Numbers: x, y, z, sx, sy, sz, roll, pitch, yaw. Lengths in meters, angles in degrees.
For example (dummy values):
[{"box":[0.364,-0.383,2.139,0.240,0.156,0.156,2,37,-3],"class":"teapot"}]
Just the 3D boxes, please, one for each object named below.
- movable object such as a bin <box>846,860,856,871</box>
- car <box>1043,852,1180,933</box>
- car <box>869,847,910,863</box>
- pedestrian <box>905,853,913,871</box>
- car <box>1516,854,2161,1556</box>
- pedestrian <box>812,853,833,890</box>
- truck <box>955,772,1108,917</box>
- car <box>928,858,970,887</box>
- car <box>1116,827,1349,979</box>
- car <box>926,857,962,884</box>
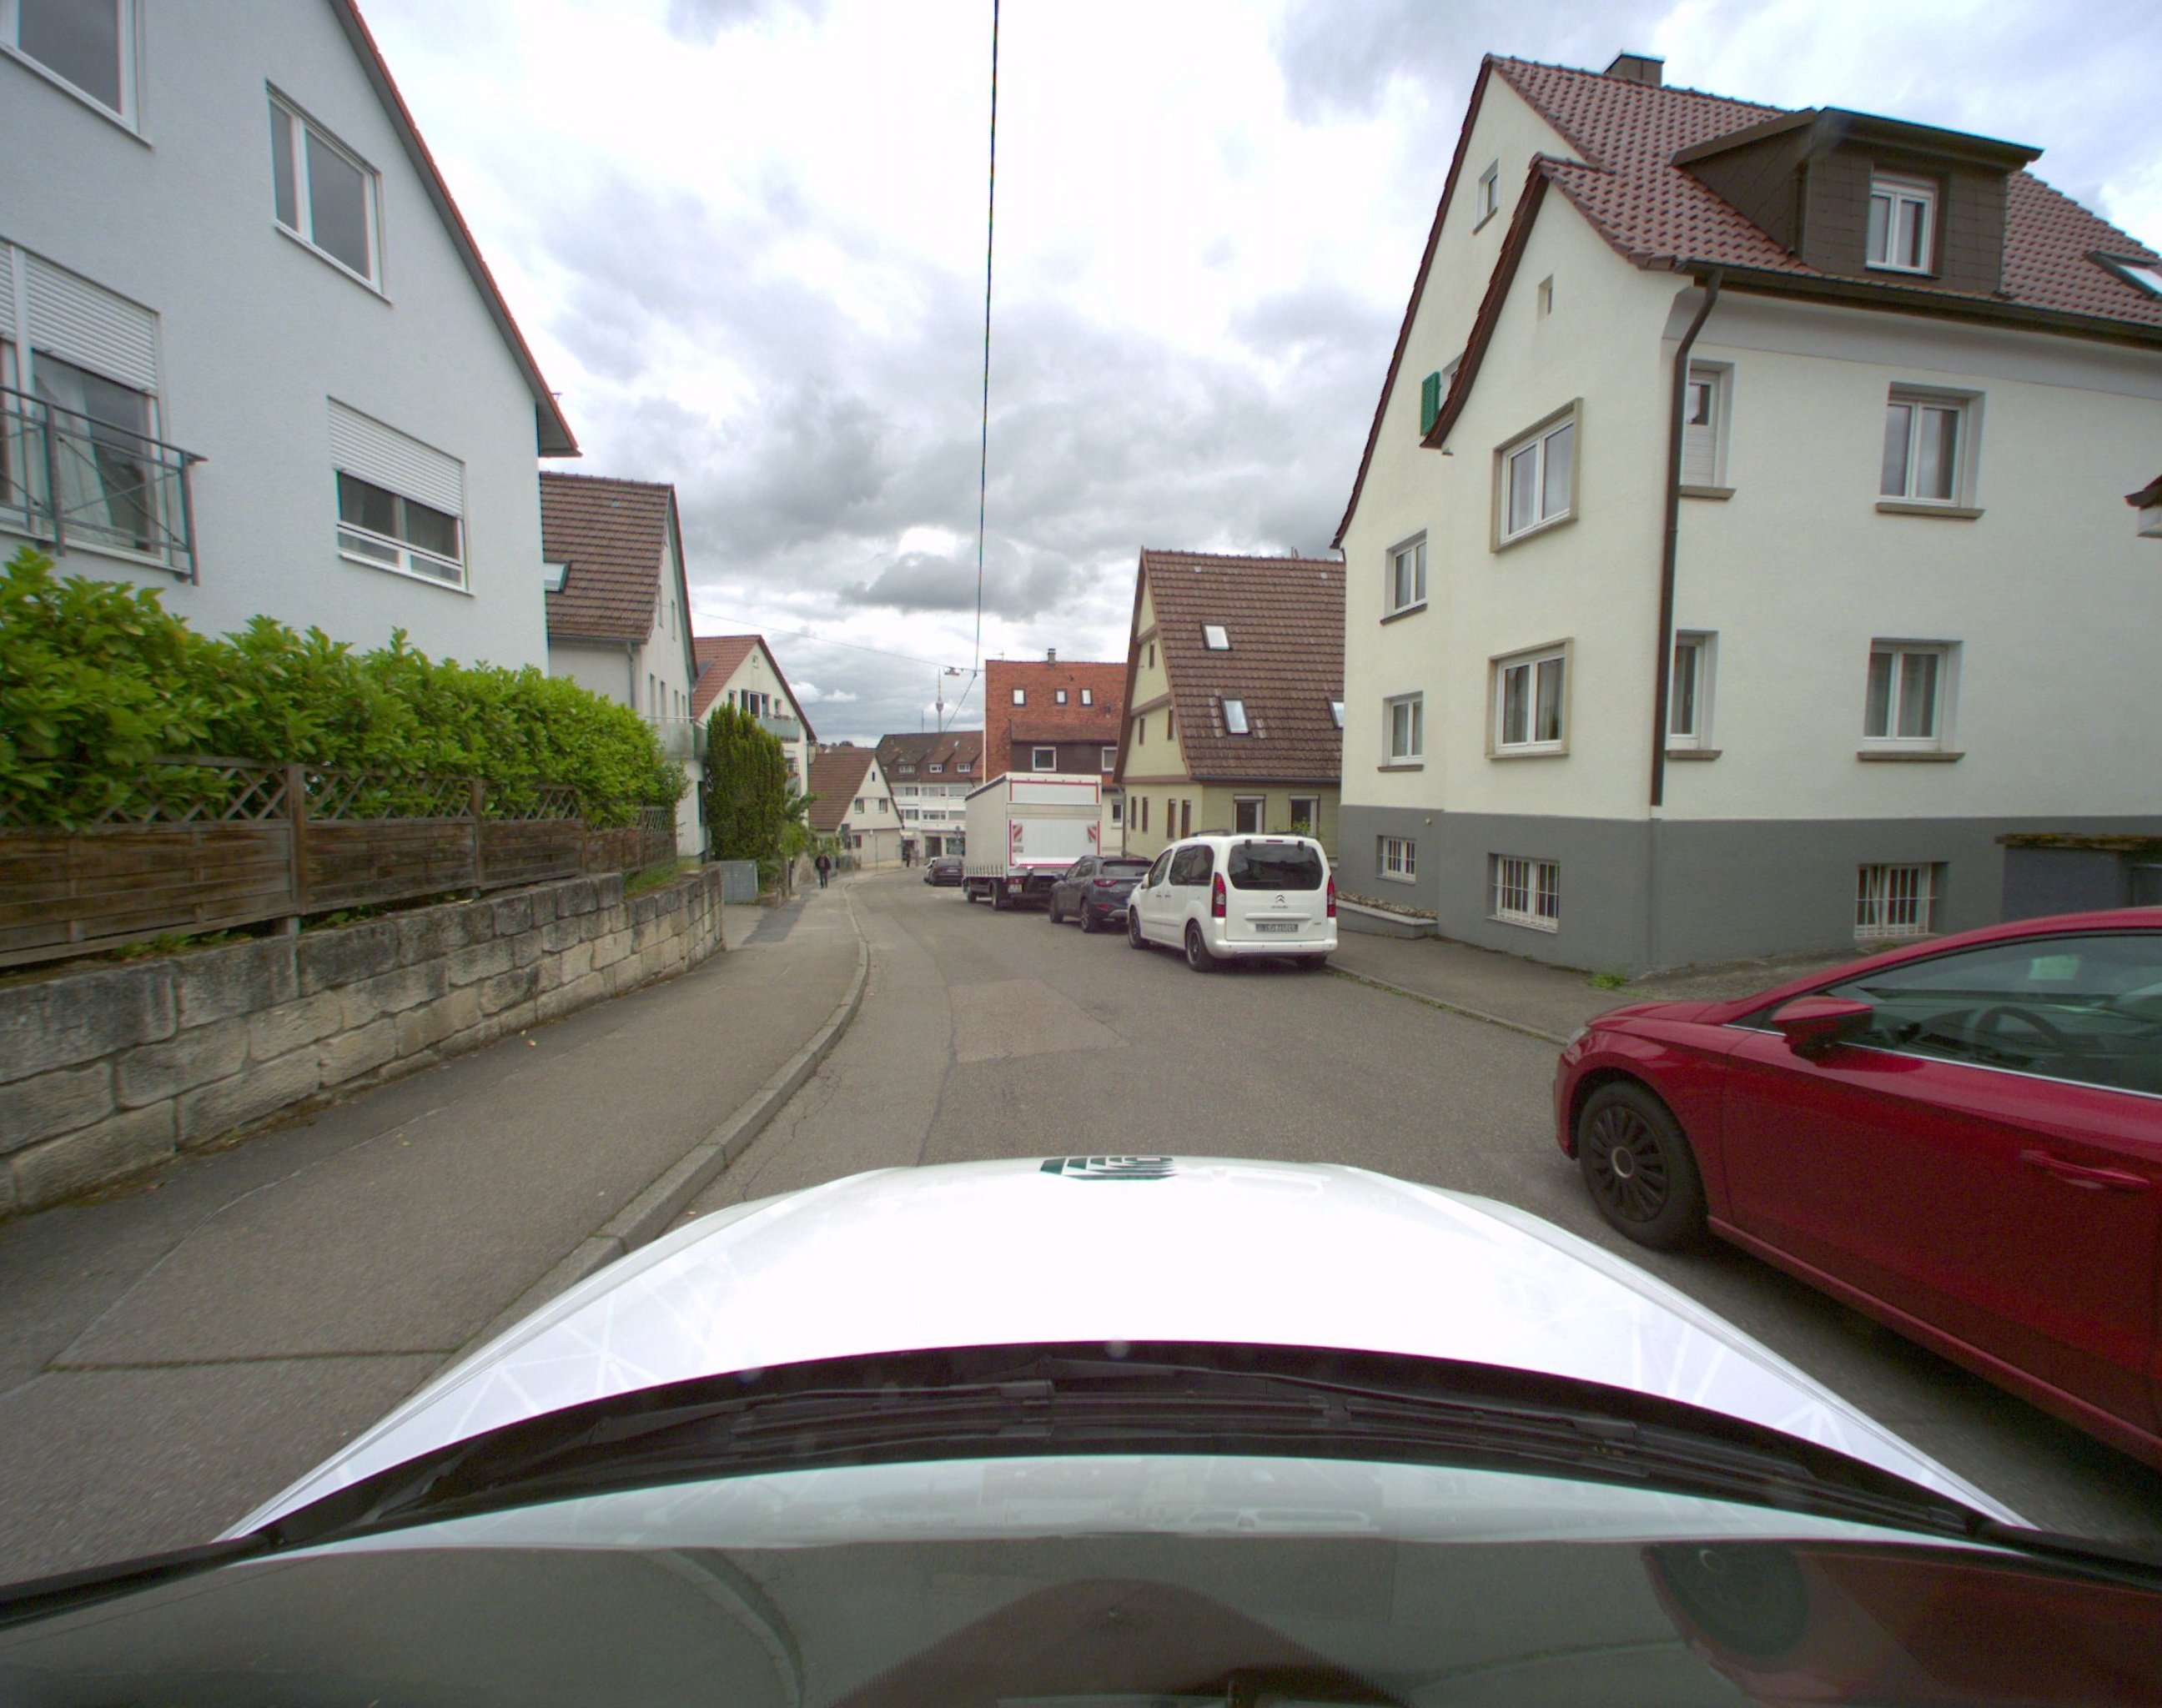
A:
[{"box":[-18.021,0.896,63.882,0.522,0.884,0.492,3,-1,18],"class":"movable object such as a bin"},{"box":[0.507,0.760,17.354,1.736,1.506,4.028,1,-1,-16],"class":"car"},{"box":[-22.327,0.152,94.961,4.313,1.779,1.959,0,2,28],"class":"car"},{"box":[-16.993,0.779,80.510,0.649,1.684,0.599,-1,1,-25],"class":"pedestrian"},{"box":[3.057,0.737,2.035,1.676,1.452,3.845,1,0,-5],"class":"car"},{"box":[-11.940,0.788,37.636,0.842,1.678,0.971,1,-1,-17],"class":"pedestrian"},{"box":[-1.799,-0.229,24.512,2.683,3.597,8.056,0,0,-18],"class":"truck"},{"box":[-6.843,0.933,41.968,1.677,1.408,4.030,1,-1,-15],"class":"car"},{"box":[1.969,0.601,12.046,1.837,1.814,4.284,1,0,-13],"class":"car"},{"box":[-8.009,0.931,47.201,1.797,1.445,4.278,1,-1,-13],"class":"car"}]
